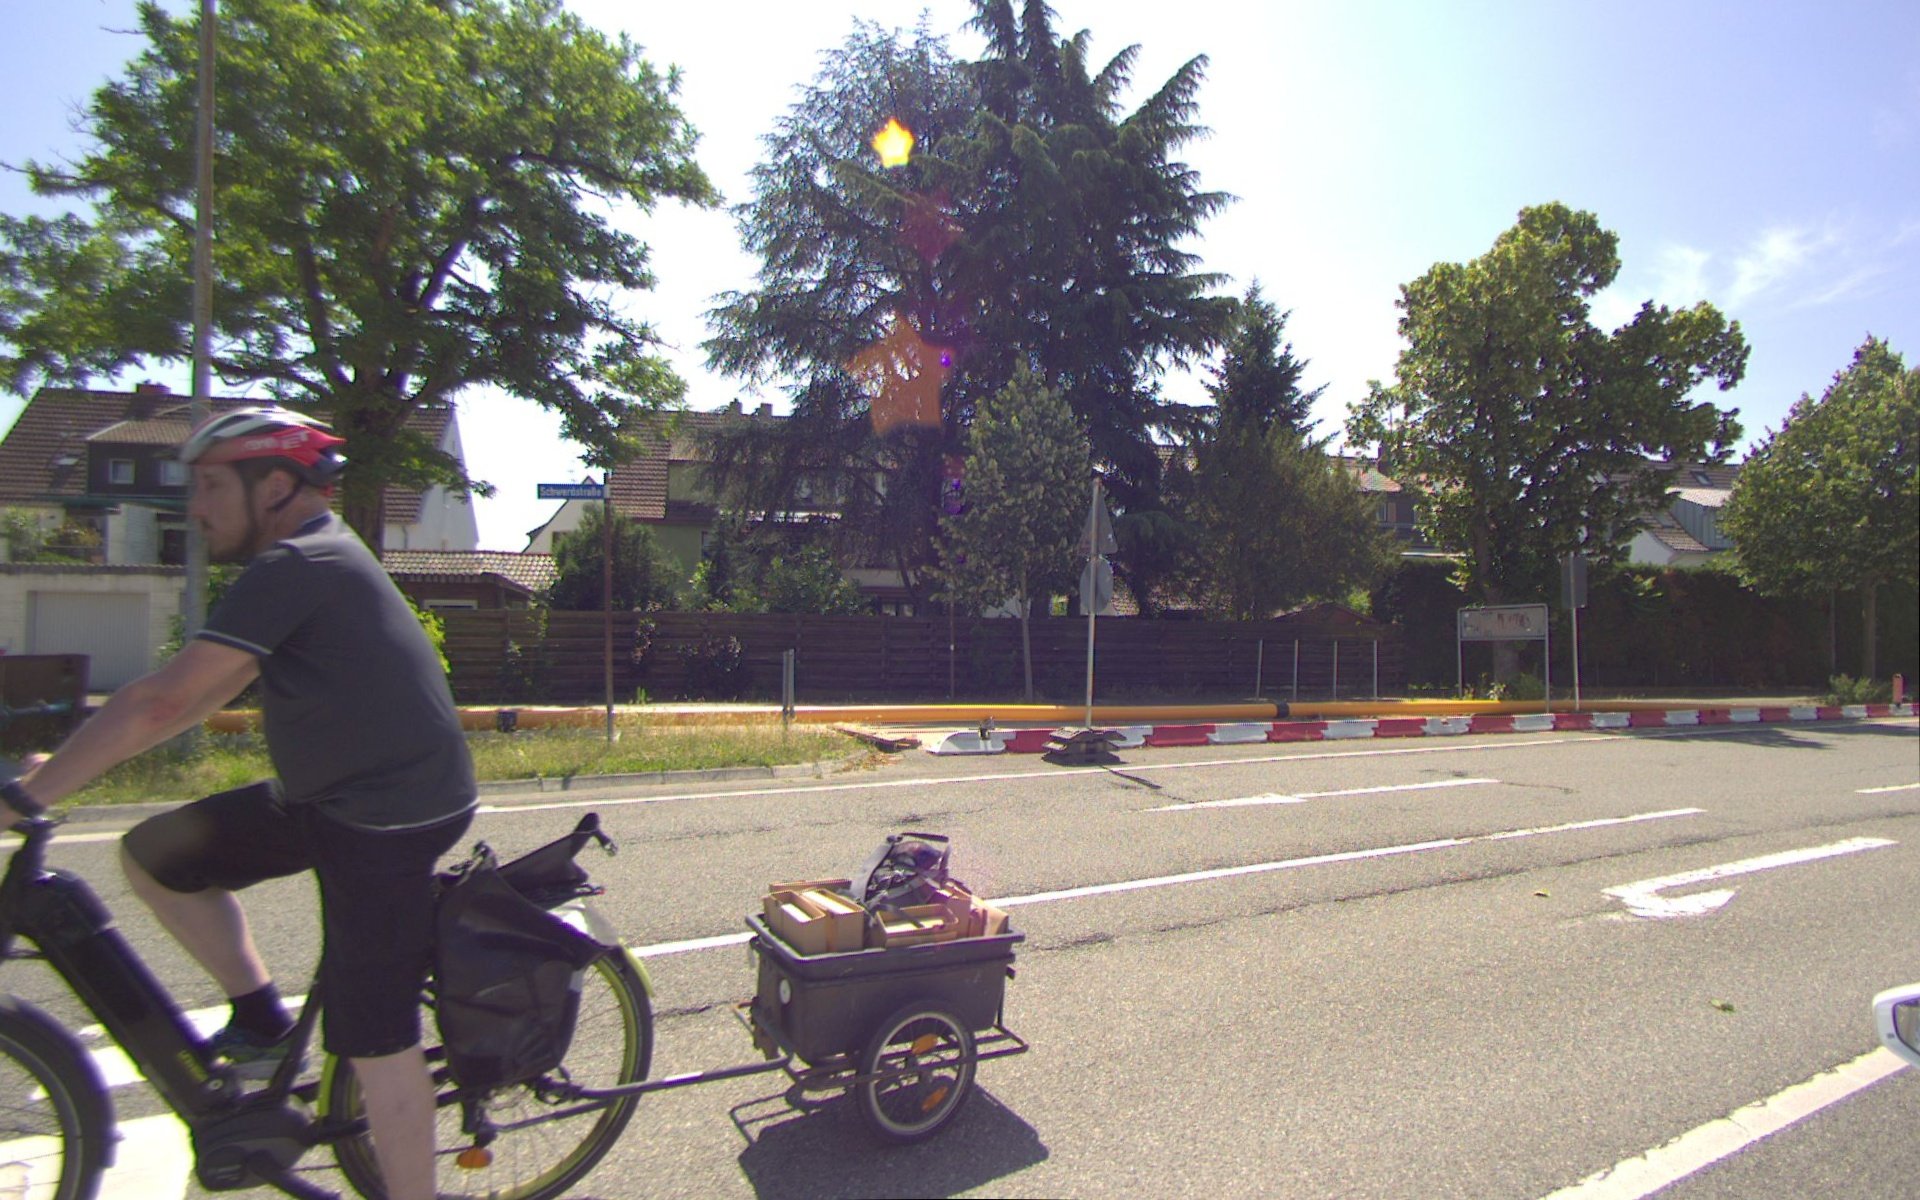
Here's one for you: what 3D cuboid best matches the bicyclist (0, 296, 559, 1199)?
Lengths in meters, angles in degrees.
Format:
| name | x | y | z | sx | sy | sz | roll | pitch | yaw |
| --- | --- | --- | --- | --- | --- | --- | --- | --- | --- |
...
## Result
| name | x | y | z | sx | sy | sz | roll | pitch | yaw |
| --- | --- | --- | --- | --- | --- | --- | --- | --- | --- |
| bicyclist | -1.454 | 0.477 | 2.133 | 0.965 | 1.890 | 0.842 | 2 | -1 | -30 |

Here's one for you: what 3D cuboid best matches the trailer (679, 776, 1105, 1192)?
| name | x | y | z | sx | sy | sz | roll | pitch | yaw |
| --- | --- | --- | --- | --- | --- | --- | --- | --- | --- |
| trailer | -0.195 | 1.037 | 3.001 | 1.119 | 0.867 | 0.567 | 2 | 0 | -31 |

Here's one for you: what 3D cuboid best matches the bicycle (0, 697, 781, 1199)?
| name | x | y | z | sx | sy | sz | roll | pitch | yaw |
| --- | --- | --- | --- | --- | --- | --- | --- | --- | --- |
| bicycle | -1.466 | 0.841 | 2.127 | 1.954 | 1.181 | 0.846 | 2 | -2 | -31 |
